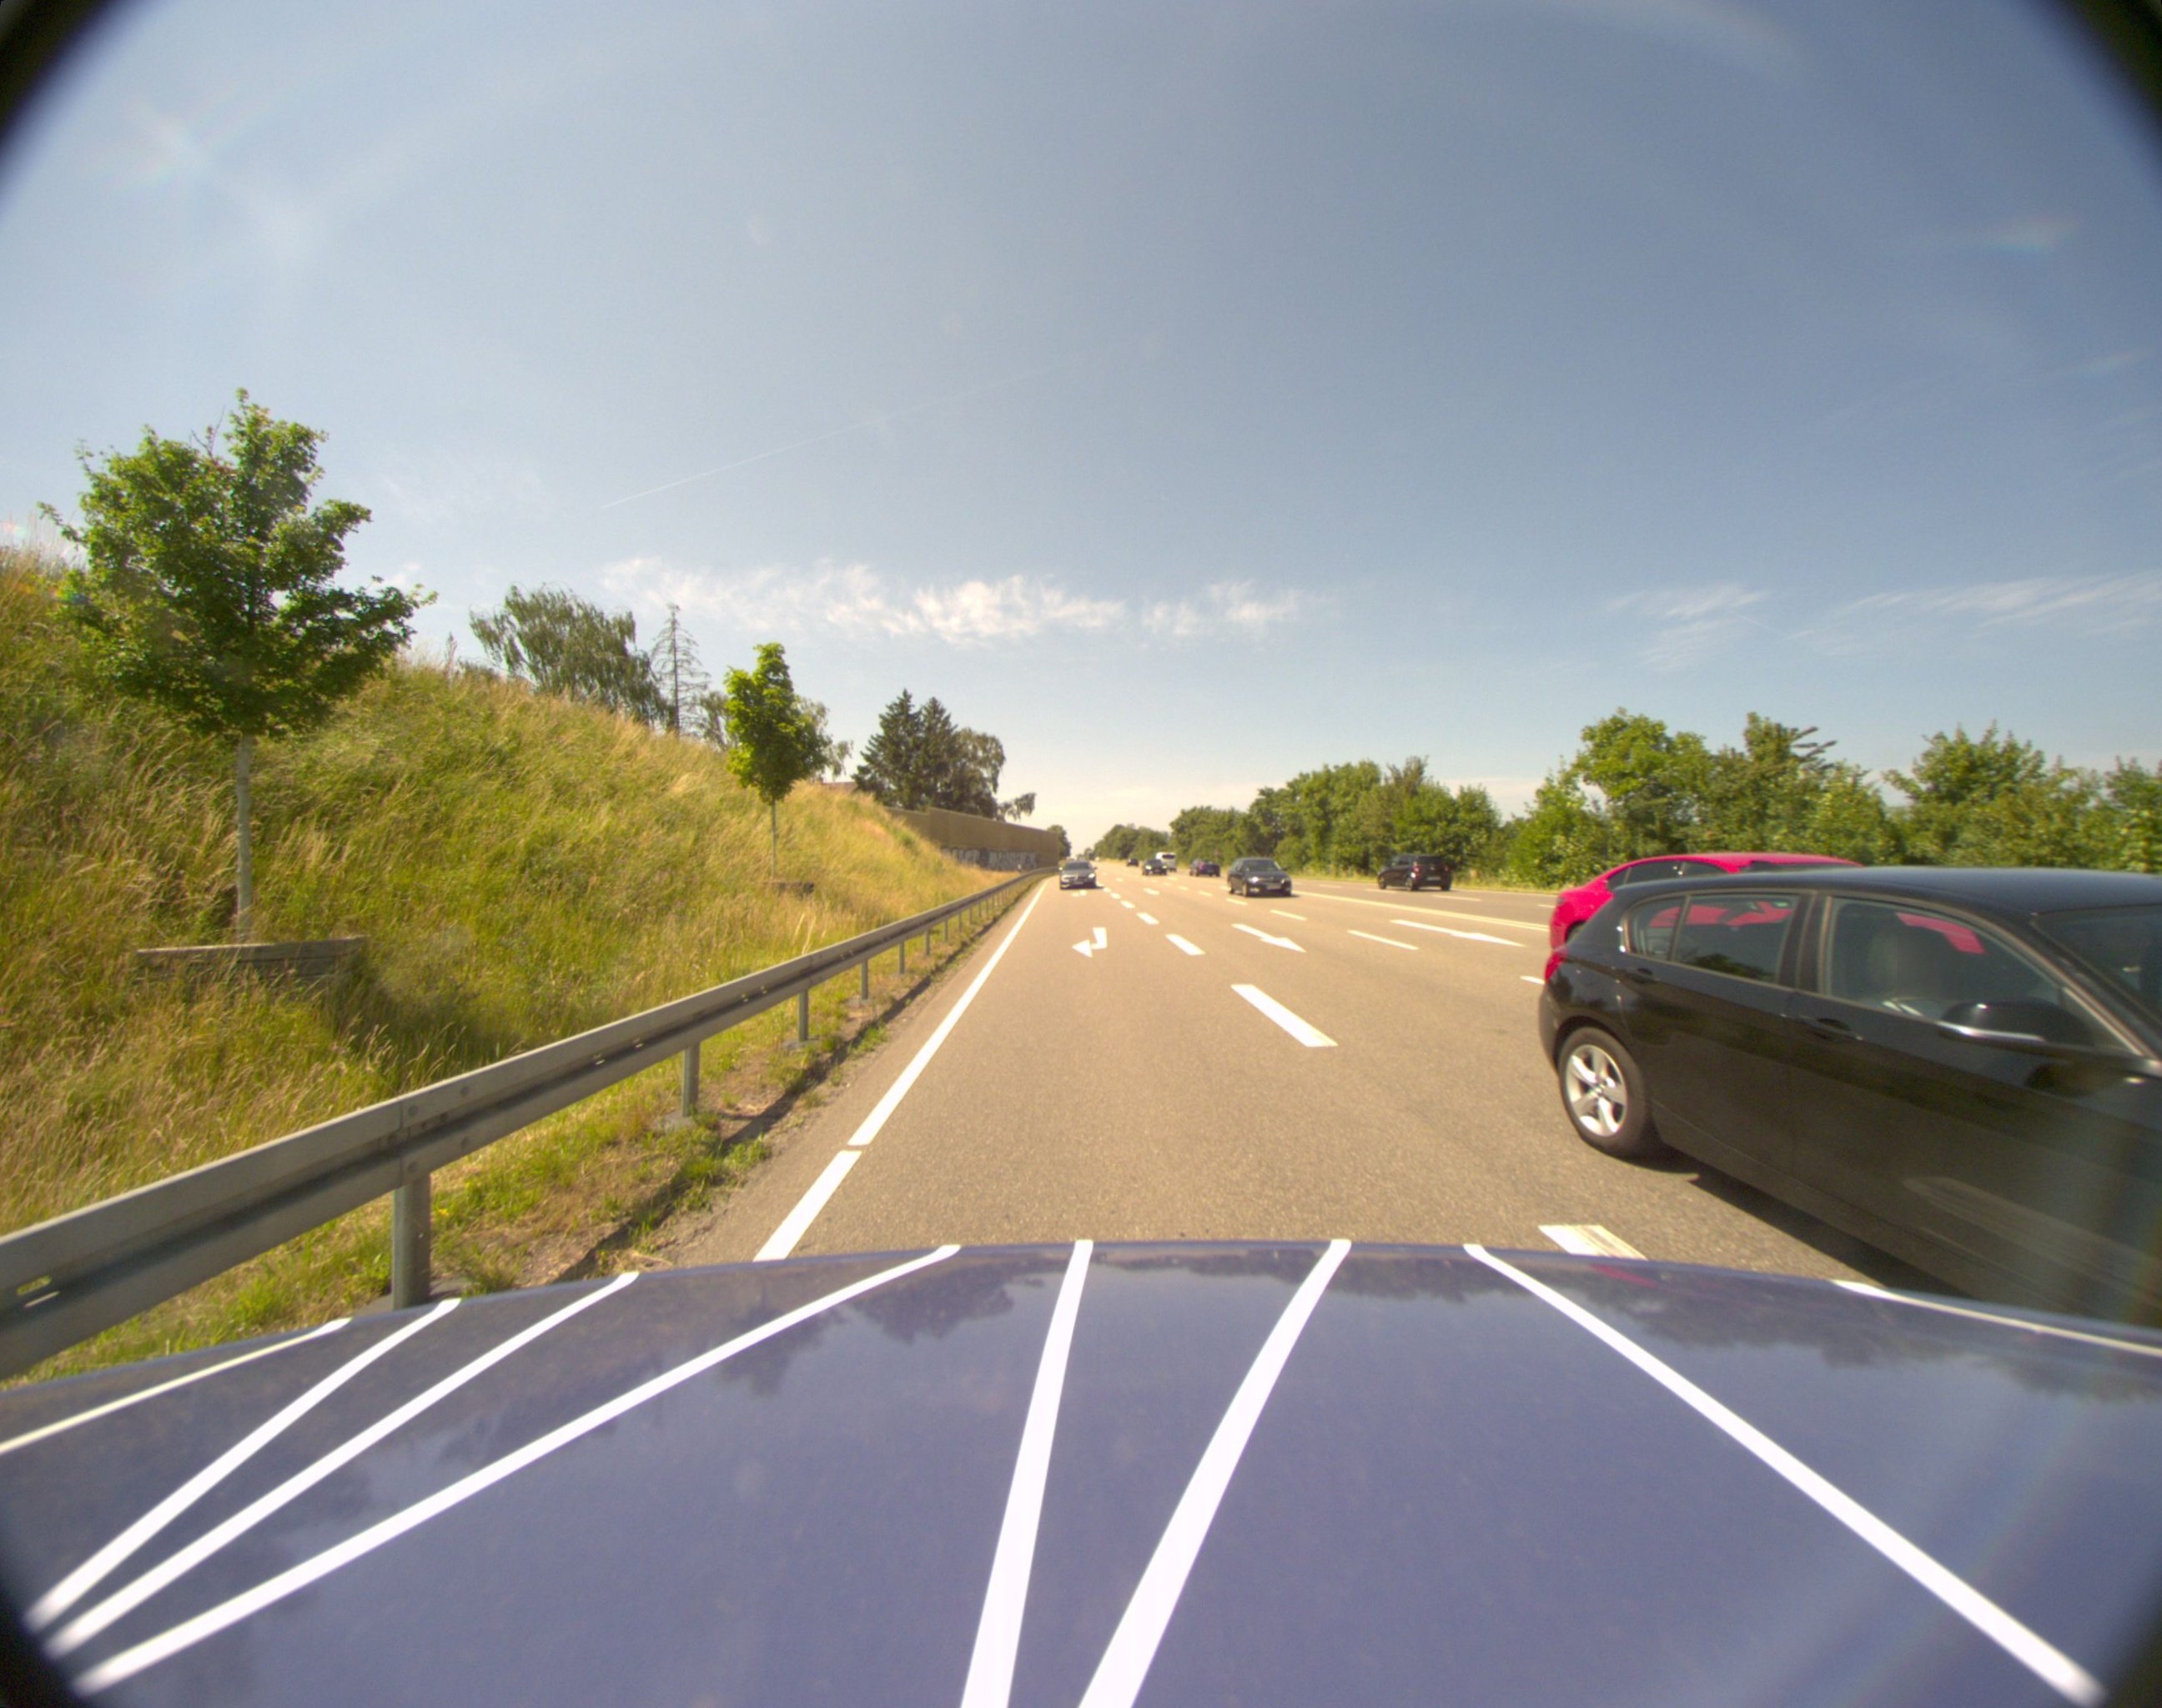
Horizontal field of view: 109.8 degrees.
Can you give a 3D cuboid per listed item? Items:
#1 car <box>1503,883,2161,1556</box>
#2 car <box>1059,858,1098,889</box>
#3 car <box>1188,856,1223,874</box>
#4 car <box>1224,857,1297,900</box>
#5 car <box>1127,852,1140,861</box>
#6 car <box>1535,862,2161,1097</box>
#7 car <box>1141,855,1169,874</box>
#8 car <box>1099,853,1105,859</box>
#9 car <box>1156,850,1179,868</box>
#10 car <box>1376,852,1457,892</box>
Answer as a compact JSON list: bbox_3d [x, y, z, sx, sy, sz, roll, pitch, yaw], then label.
[{"bbox_3d":[3.400,0.900,2.334,1.788,1.422,4.381,-2,0,1],"label":"car"},{"bbox_3d":[-0.161,0.986,40.021,1.894,1.439,4.525,-2,0,-1],"label":"car"},{"bbox_3d":[9.701,0.851,59.485,1.810,1.272,4.765,-1,0,-1],"label":"car"},{"bbox_3d":[6.690,0.878,28.783,1.679,1.403,4.466,-2,0,0],"label":"car"},{"bbox_3d":[8.840,0.408,127.465,1.893,1.527,4.525,-2,0,1],"label":"car"},{"bbox_3d":[6.542,0.825,7.123,1.753,1.413,4.566,-2,0,-1],"label":"car"},{"bbox_3d":[6.215,0.852,64.228,1.894,1.439,4.525,-2,0,0],"label":"car"},{"bbox_3d":[7.162,0.542,254.446,1.747,1.808,3.998,-2,1,-1],"label":"car"},{"bbox_3d":[9.290,0.538,82.086,1.910,1.906,5.051,0,0,0],"label":"car"},{"bbox_3d":[13.733,0.700,31.342,1.649,1.479,3.558,-2,0,-2],"label":"car"}]
